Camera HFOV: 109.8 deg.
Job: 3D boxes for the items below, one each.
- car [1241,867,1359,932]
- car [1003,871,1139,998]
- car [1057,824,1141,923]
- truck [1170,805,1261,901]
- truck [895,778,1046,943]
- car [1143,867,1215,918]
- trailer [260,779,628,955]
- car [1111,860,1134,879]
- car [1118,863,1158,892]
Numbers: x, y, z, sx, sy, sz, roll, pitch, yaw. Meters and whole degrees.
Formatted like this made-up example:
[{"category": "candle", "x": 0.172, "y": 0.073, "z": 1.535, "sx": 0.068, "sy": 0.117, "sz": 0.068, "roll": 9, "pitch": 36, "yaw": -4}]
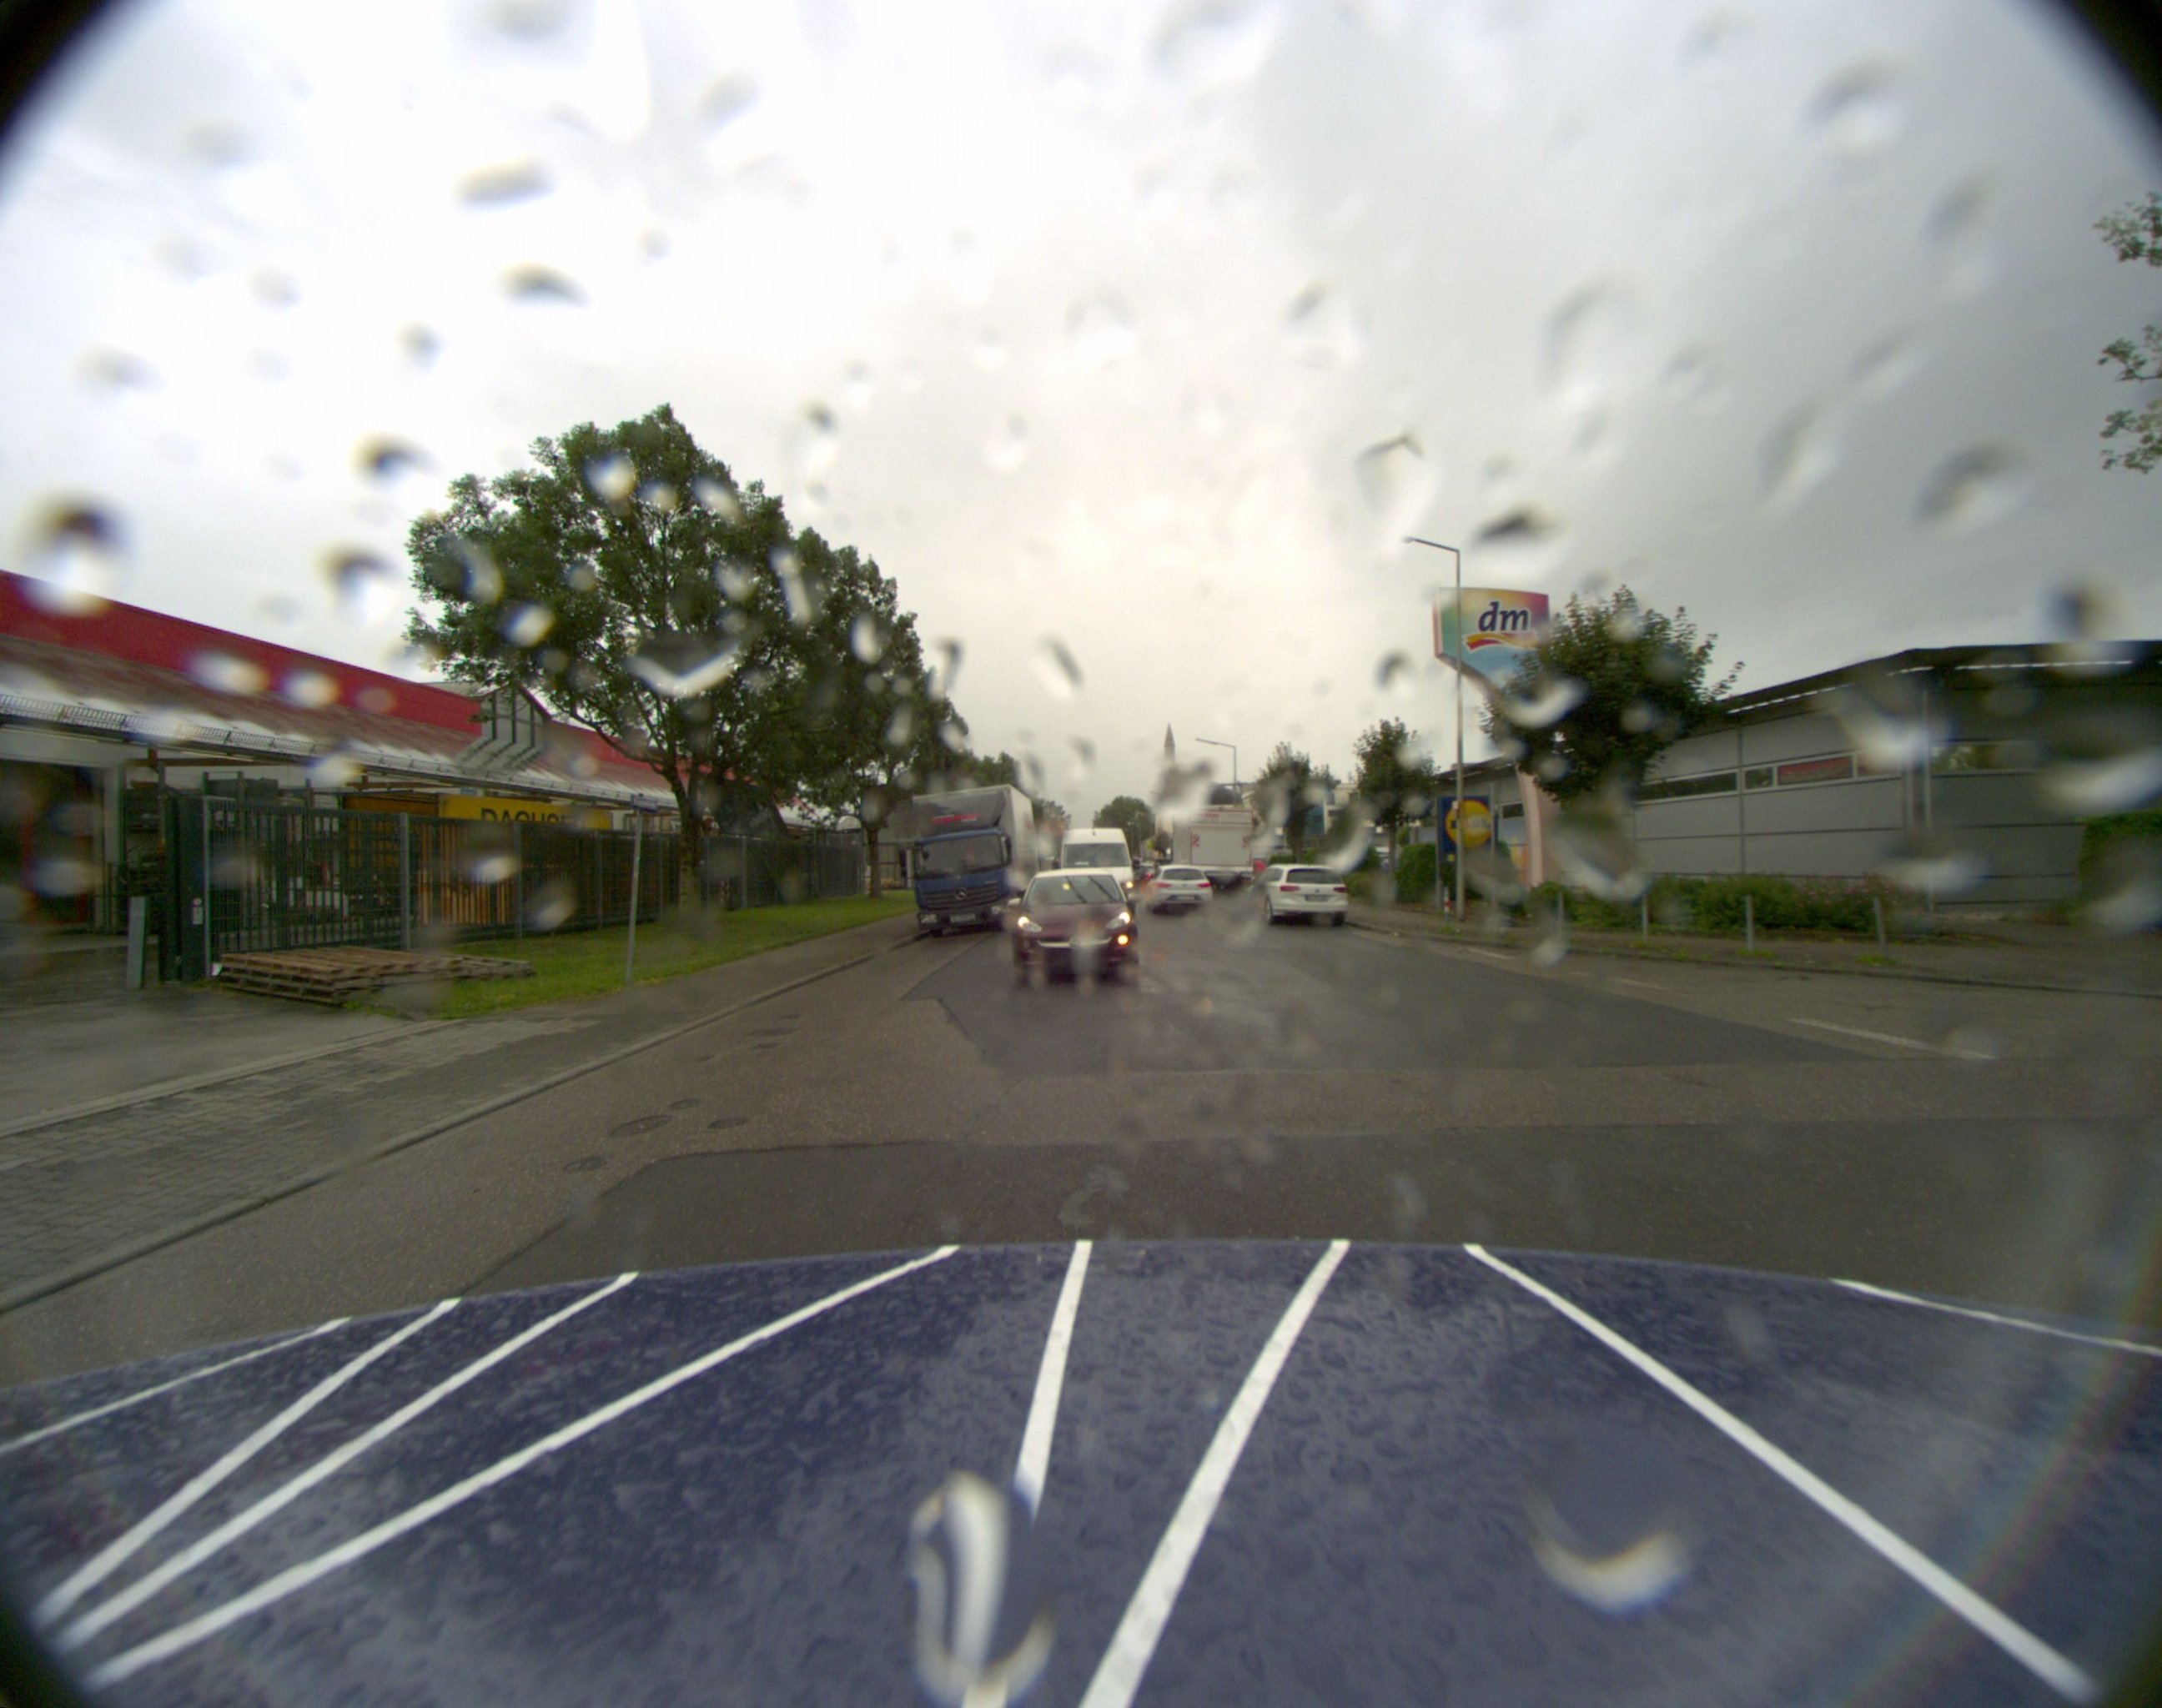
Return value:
[{"category": "car", "x": 5.428, "y": 1.069, "z": 19.464, "sx": 1.840, "sy": 1.426, "sz": 4.492, "roll": 0, "pitch": 0, "yaw": 2}, {"category": "car", "x": -0.104, "y": 1.051, "z": 11.305, "sx": 1.637, "sy": 1.446, "sz": 3.578, "roll": -3, "pitch": 0, "yaw": 1}, {"category": "car", "x": 0.541, "y": 0.526, "z": 21.974, "sx": 2.084, "sy": 2.466, "sz": 5.348, "roll": -1, "pitch": 0, "yaw": 2}, {"category": "truck", "x": 5.750, "y": -0.009, "z": 33.894, "sx": 2.888, "sy": 3.724, "sz": 7.869, "roll": -1, "pitch": 0, "yaw": 2}, {"category": "truck", "x": -2.765, "y": 0.186, "z": 21.640, "sx": 2.678, "sy": 3.670, "sz": 8.010, "roll": -4, "pitch": 0, "yaw": 1}, {"category": "car", "x": 2.972, "y": 1.119, "z": 23.699, "sx": 1.735, "sy": 1.432, "sz": 4.000, "roll": 0, "pitch": -1, "yaw": 0}, {"category": "trailer", "x": -18.213, "y": 0.269, "z": 23.096, "sx": 2.974, "sy": 4.218, "sz": 9.470, "roll": -1, "pitch": 1, "yaw": 1}, {"category": "car", "x": 3.300, "y": 1.235, "z": 60.833, "sx": 1.615, "sy": 1.430, "sz": 3.407, "roll": 0, "pitch": 0, "yaw": -1}, {"category": "car", "x": 2.873, "y": 1.164, "z": 38.786, "sx": 1.735, "sy": 1.432, "sz": 4.000, "roll": 0, "pitch": -1, "yaw": 0}]
